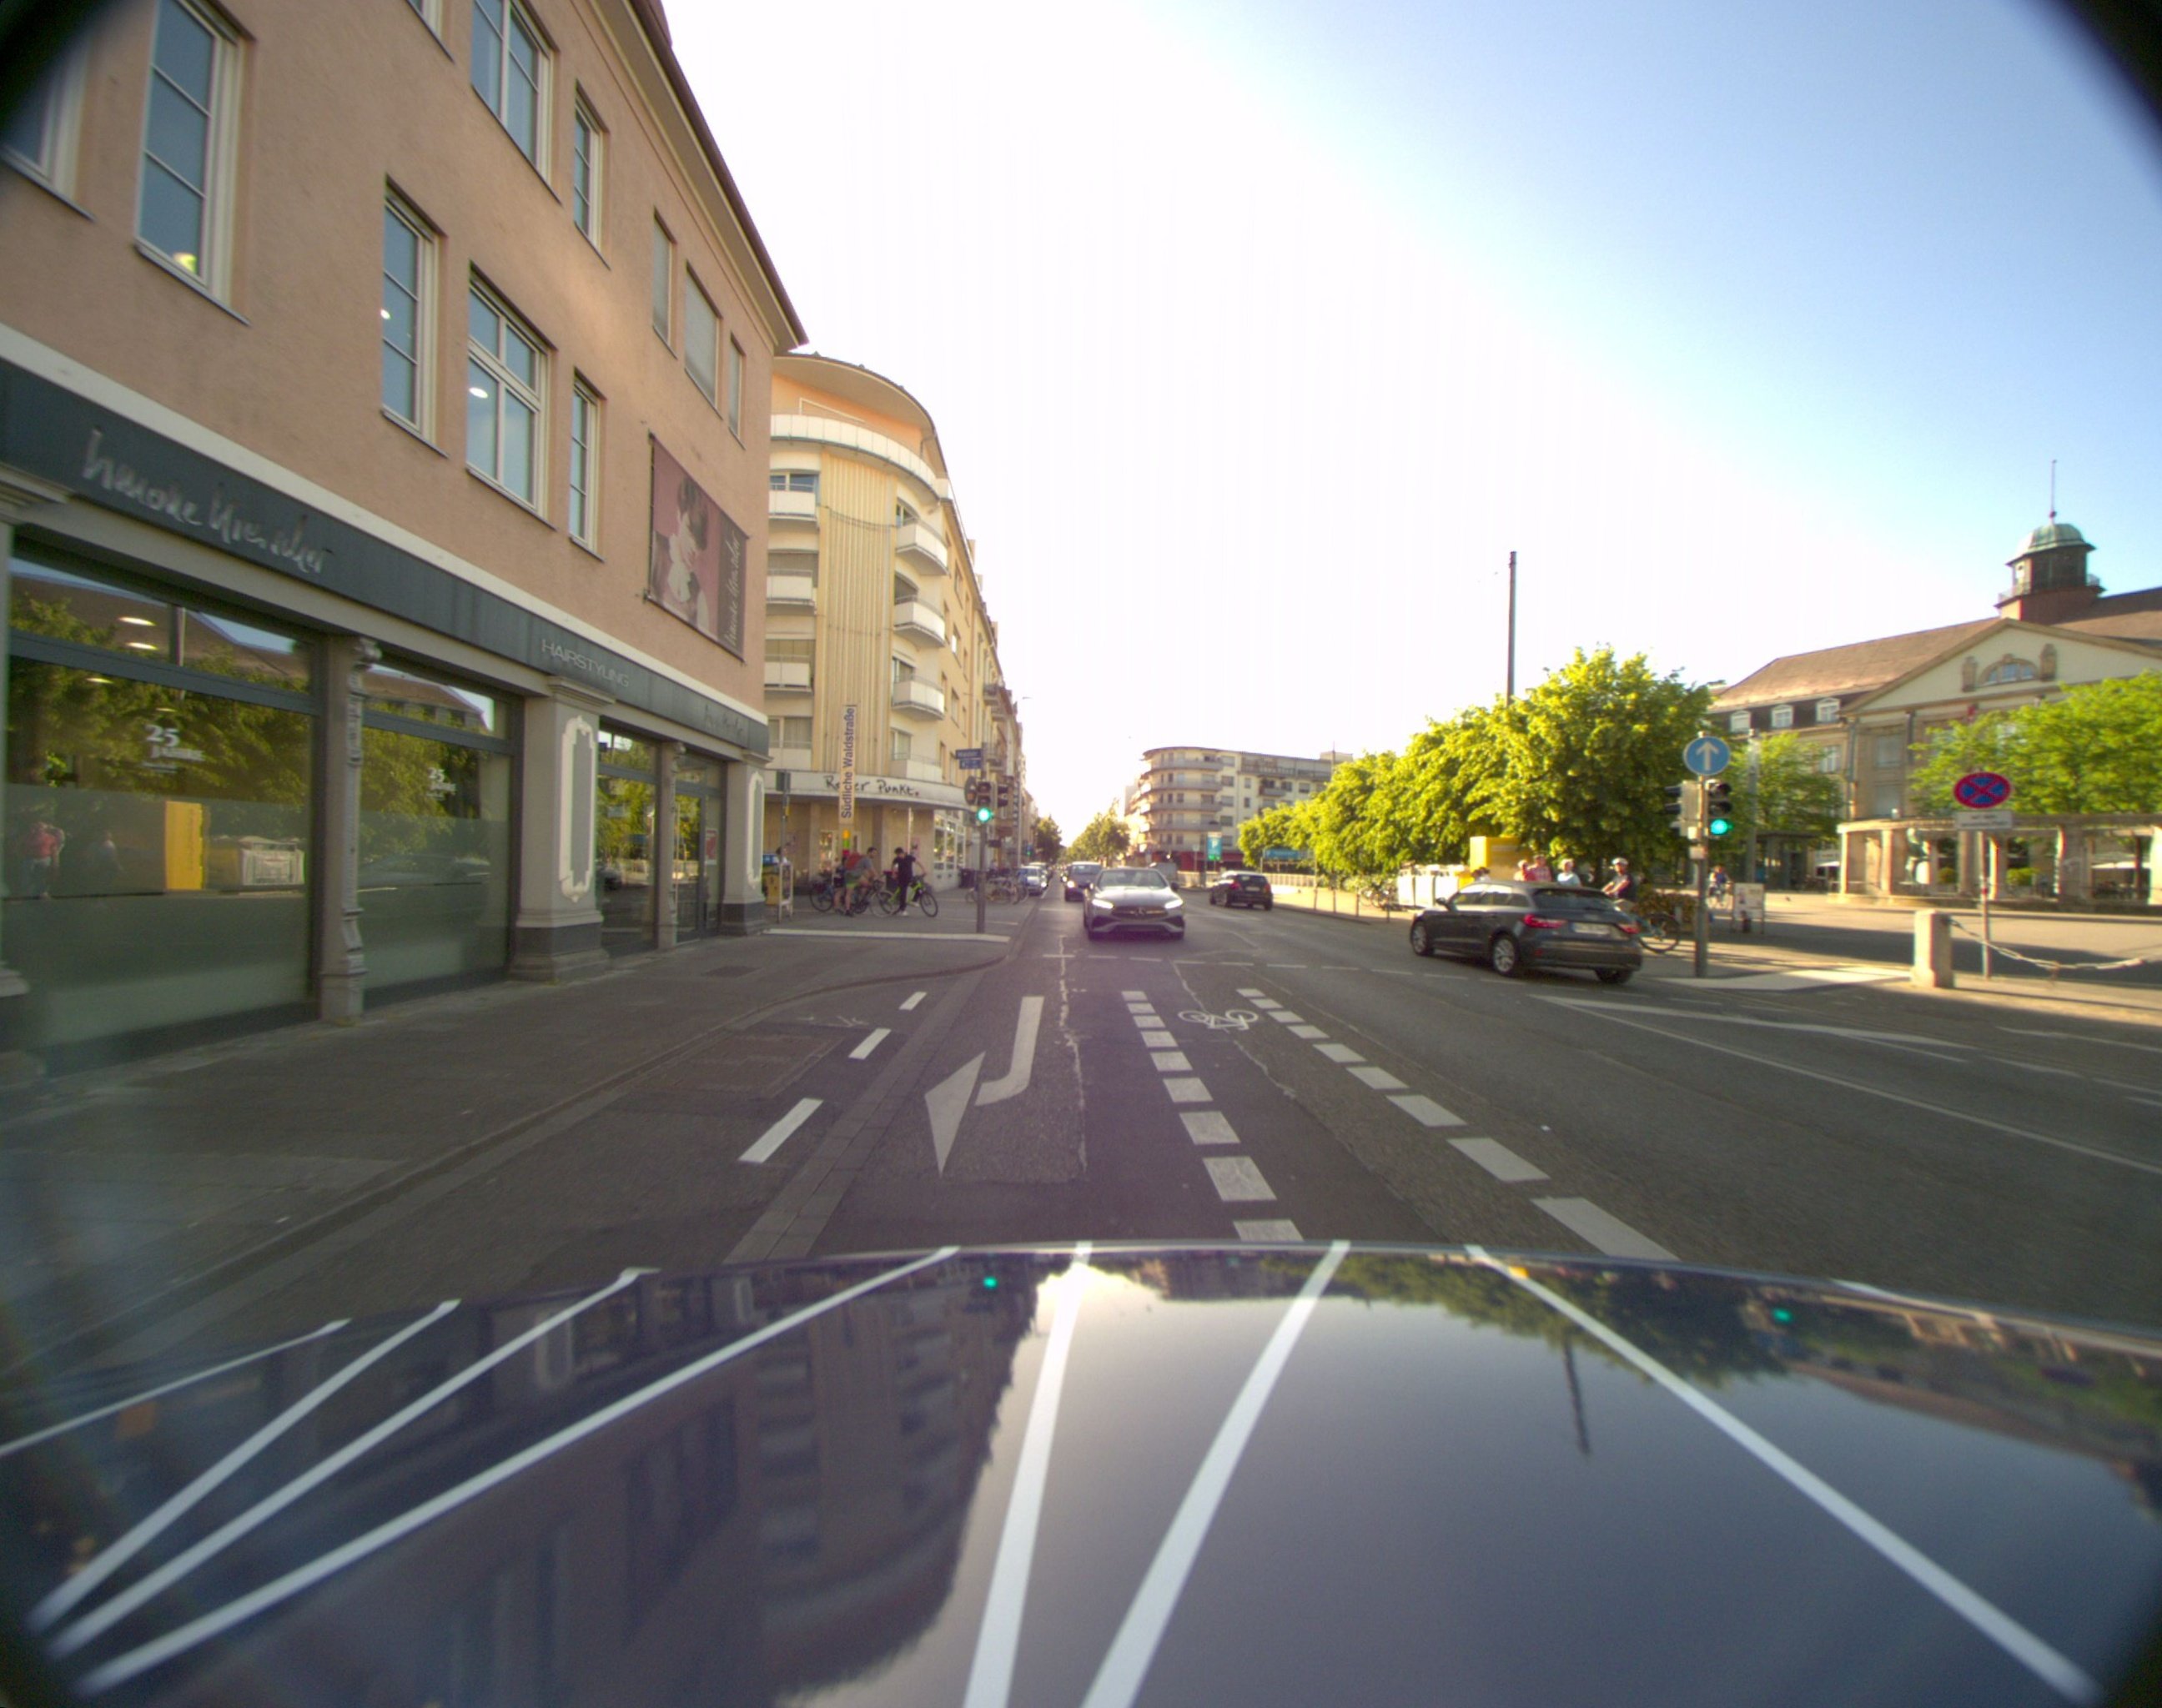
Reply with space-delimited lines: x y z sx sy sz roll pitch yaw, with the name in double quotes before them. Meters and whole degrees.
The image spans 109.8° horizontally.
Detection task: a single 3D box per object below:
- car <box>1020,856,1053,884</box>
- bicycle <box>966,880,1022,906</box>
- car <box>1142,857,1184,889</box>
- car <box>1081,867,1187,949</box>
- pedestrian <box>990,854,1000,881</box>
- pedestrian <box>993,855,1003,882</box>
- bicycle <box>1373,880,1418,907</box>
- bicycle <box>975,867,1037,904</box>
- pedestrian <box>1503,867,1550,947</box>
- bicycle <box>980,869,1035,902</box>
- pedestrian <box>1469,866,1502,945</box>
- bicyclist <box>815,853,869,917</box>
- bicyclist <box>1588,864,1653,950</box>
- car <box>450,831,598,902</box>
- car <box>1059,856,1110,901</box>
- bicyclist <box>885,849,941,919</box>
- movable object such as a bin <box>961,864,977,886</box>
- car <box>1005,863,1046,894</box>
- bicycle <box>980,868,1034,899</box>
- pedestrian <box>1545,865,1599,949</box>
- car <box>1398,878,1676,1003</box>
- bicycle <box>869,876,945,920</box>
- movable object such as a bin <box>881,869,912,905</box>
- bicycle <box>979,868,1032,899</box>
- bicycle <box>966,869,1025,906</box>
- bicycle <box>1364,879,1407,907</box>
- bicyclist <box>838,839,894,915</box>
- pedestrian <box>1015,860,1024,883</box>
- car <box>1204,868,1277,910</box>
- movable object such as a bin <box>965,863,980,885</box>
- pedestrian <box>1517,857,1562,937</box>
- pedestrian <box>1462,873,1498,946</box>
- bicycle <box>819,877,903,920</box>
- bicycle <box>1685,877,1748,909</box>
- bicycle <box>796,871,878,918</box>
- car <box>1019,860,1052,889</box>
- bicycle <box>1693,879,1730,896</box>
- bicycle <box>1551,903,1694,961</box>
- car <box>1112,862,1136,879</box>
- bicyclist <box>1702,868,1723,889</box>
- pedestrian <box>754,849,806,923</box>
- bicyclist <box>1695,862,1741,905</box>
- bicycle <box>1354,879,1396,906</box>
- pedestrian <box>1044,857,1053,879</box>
"car" -3.195 1.128 54.181 2.000 1.867 3.997 1 0 -8
"bicycle" -2.952 1.319 25.756 1.848 0.826 0.741 2 0 -7
"car" 5.442 1.265 51.195 1.999 1.935 4.782 4 -1 -2
"car" 0.982 1.026 16.015 1.910 1.453 4.364 0 0 0
"pedestrian" -6.336 1.012 55.791 0.673 1.942 0.615 1 0 -5
"pedestrian" -6.009 1.041 55.055 0.695 1.895 0.906 1 0 -4
"bicycle" 12.158 1.534 29.371 1.559 0.996 0.364 1 0 -2
"bicycle" -2.691 1.130 27.318 2.143 1.236 0.710 2 0 -6
"pedestrian" 10.408 1.212 17.748 0.781 1.801 0.591 1 0 45
"bicycle" -2.744 1.181 28.583 1.962 1.150 0.755 2 0 -1
"pedestrian" 9.827 1.230 18.463 0.650 1.846 0.626 1 0 30
"bicyclist" -6.019 0.766 19.146 1.028 1.574 0.727 1 0 20
"bicyclist" 10.691 1.016 15.096 0.803 1.638 0.995 1 0 21
"car" -20.382 0.387 27.812 4.685 2.454 2.072 1 1 20
"car" 0.111 0.982 31.713 1.999 1.717 4.000 1 -1 -1
"bicyclist" -4.189 0.734 18.994 1.129 1.675 0.727 1 0 26
"movable object such as a bin" -6.089 1.143 41.363 0.703 1.153 0.960 1 0 -1
"car" -2.670 1.150 37.386 1.693 1.390 4.000 1 -1 0
"bicycle" -2.903 1.144 29.892 2.027 1.143 0.715 2 0 -1
"pedestrian" 10.892 1.165 16.868 0.590 1.801 0.782 1 0 -27
"car" 6.705 1.181 11.777 1.655 1.389 4.042 5 -1 -2
"bicycle" -4.378 1.090 19.129 1.910 1.013 0.561 2 0 26
"movable object such as a bin" -5.822 1.027 24.008 0.810 1.106 0.620 1 0 -3
"bicycle" -3.074 1.190 30.957 2.049 1.174 0.683 2 0 -1
"bicycle" -2.966 1.136 26.322 1.947 1.204 0.932 2 0 -7
"bicycle" 11.949 1.531 29.850 1.549 1.025 0.364 1 0 -2
"bicyclist" -5.157 0.550 18.274 1.141 1.751 0.753 1 0 -7
"pedestrian" -5.202 1.462 64.344 0.695 1.895 0.906 1 0 -4
"car" 6.211 1.332 30.107 1.754 1.415 4.253 3 -1 -3
"movable object such as a bin" -6.148 1.123 43.130 0.703 1.232 0.960 1 0 -1
"pedestrian" 11.328 1.045 18.783 0.609 1.907 0.784 1 0 0
"pedestrian" 9.406 1.284 17.908 0.686 1.663 0.699 1 0 30
"bicycle" -5.268 1.065 18.263 1.821 0.988 0.564 1 0 -6
"bicycle" 24.478 1.488 29.319 0.941 1.126 2.482 1 0 17
"bicycle" -6.172 0.997 19.225 1.915 1.090 0.735 1 0 20
"car" -2.866 1.267 47.989 1.999 1.724 4.198 1 -1 -3
"bicycle" 44.604 2.372 53.756 2.123 1.097 0.697 1 0 -4
"bicycle" 10.671 1.523 15.064 2.171 1.065 0.765 -1 -1 20
"car" 4.174 1.577 74.959 1.846 1.537 4.239 4 -1 -3
"bicyclist" 44.674 1.718 53.726 0.952 1.463 0.647 1 0 -5
"pedestrian" -6.951 0.724 17.546 0.813 1.648 0.768 1 0 35
"bicyclist" 24.445 1.117 29.186 0.941 1.599 1.172 1 0 17
"bicycle" 12.090 1.583 31.275 1.529 1.025 0.364 1 0 13
"pedestrian" -2.957 1.284 69.610 0.610 1.912 0.714 1 0 11
